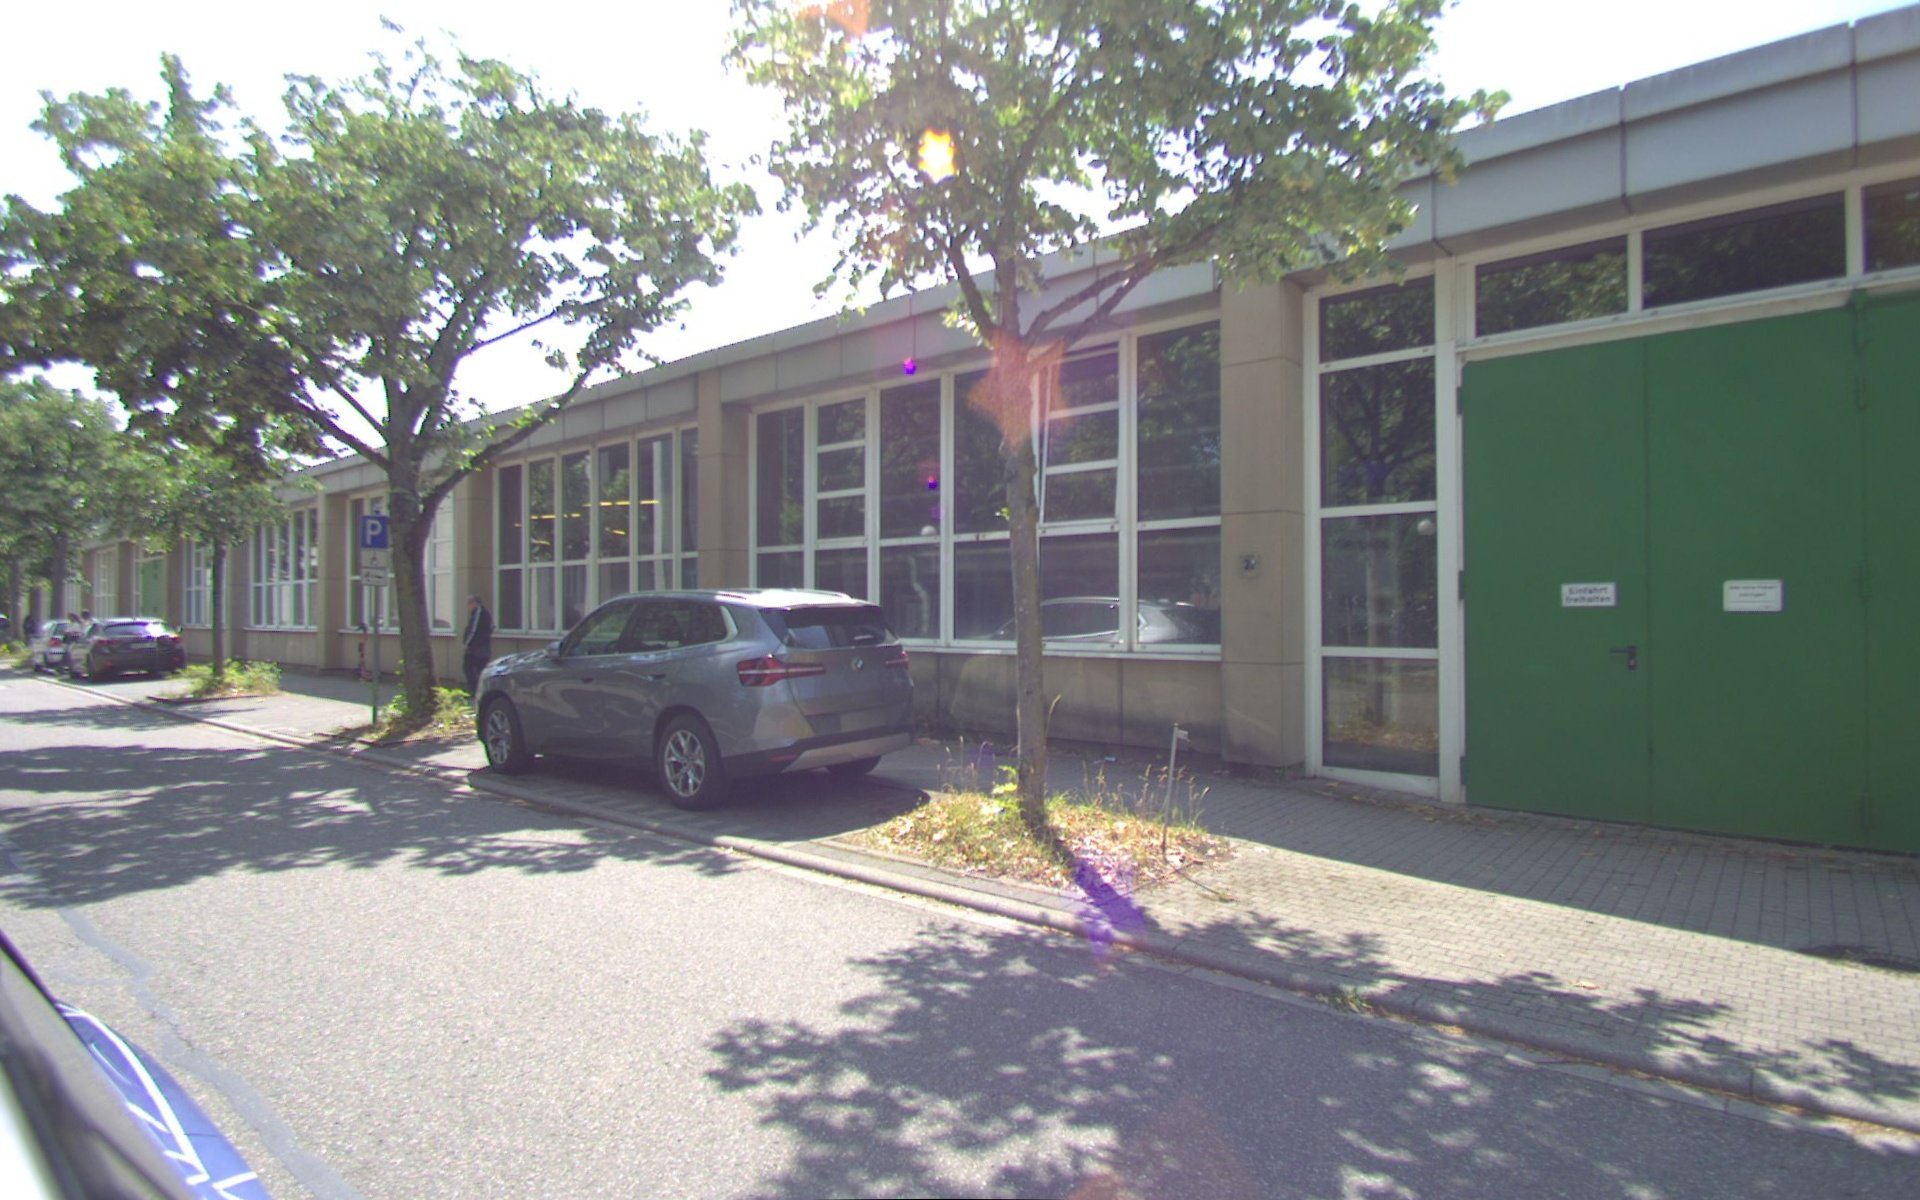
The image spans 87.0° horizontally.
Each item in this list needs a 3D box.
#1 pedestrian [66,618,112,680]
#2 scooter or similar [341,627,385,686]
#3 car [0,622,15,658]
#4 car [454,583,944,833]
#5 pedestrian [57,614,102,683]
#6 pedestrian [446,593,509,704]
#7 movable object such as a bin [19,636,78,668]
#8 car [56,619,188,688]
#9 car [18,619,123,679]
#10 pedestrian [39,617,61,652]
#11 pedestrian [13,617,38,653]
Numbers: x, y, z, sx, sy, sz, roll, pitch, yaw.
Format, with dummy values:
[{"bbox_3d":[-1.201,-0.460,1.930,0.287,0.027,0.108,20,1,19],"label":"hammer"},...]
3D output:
[{"bbox_3d":[-22.289,1.230,25.908,0.663,1.553,0.787,-1,-2,40],"label":"pedestrian"},{"bbox_3d":[-12.791,1.198,21.675,1.245,1.216,0.379,-2,0,40],"label":"scooter or similar"},{"bbox_3d":[-41.267,1.695,42.575,3.673,1.460,1.781,-1,1,40],"label":"car"},{"bbox_3d":[-2.456,0.734,8.875,4.511,1.644,1.804,-1,1,39],"label":"car"},{"bbox_3d":[-22.917,1.249,26.355,0.601,1.741,0.787,-1,-2,40],"label":"pedestrian"},{"bbox_3d":[-8.114,0.794,17.020,0.790,1.800,0.661,-2,-1,41],"label":"pedestrian"},{"bbox_3d":[-30.732,1.735,34.124,1.695,0.992,1.278,-2,0,42],"label":"movable object such as a bin"},{"bbox_3d":[-20.233,1.261,24.380,4.286,1.446,1.708,-2,0,40],"label":"car"},{"bbox_3d":[-24.613,1.307,27.973,3.750,1.460,1.613,-1,1,40],"label":"car"},{"bbox_3d":[-41.041,1.555,45.651,0.550,1.593,0.598,-2,-4,38],"label":"pedestrian"},{"bbox_3d":[-41.585,1.569,45.036,0.595,1.593,0.553,2,-3,-19],"label":"pedestrian"}]
